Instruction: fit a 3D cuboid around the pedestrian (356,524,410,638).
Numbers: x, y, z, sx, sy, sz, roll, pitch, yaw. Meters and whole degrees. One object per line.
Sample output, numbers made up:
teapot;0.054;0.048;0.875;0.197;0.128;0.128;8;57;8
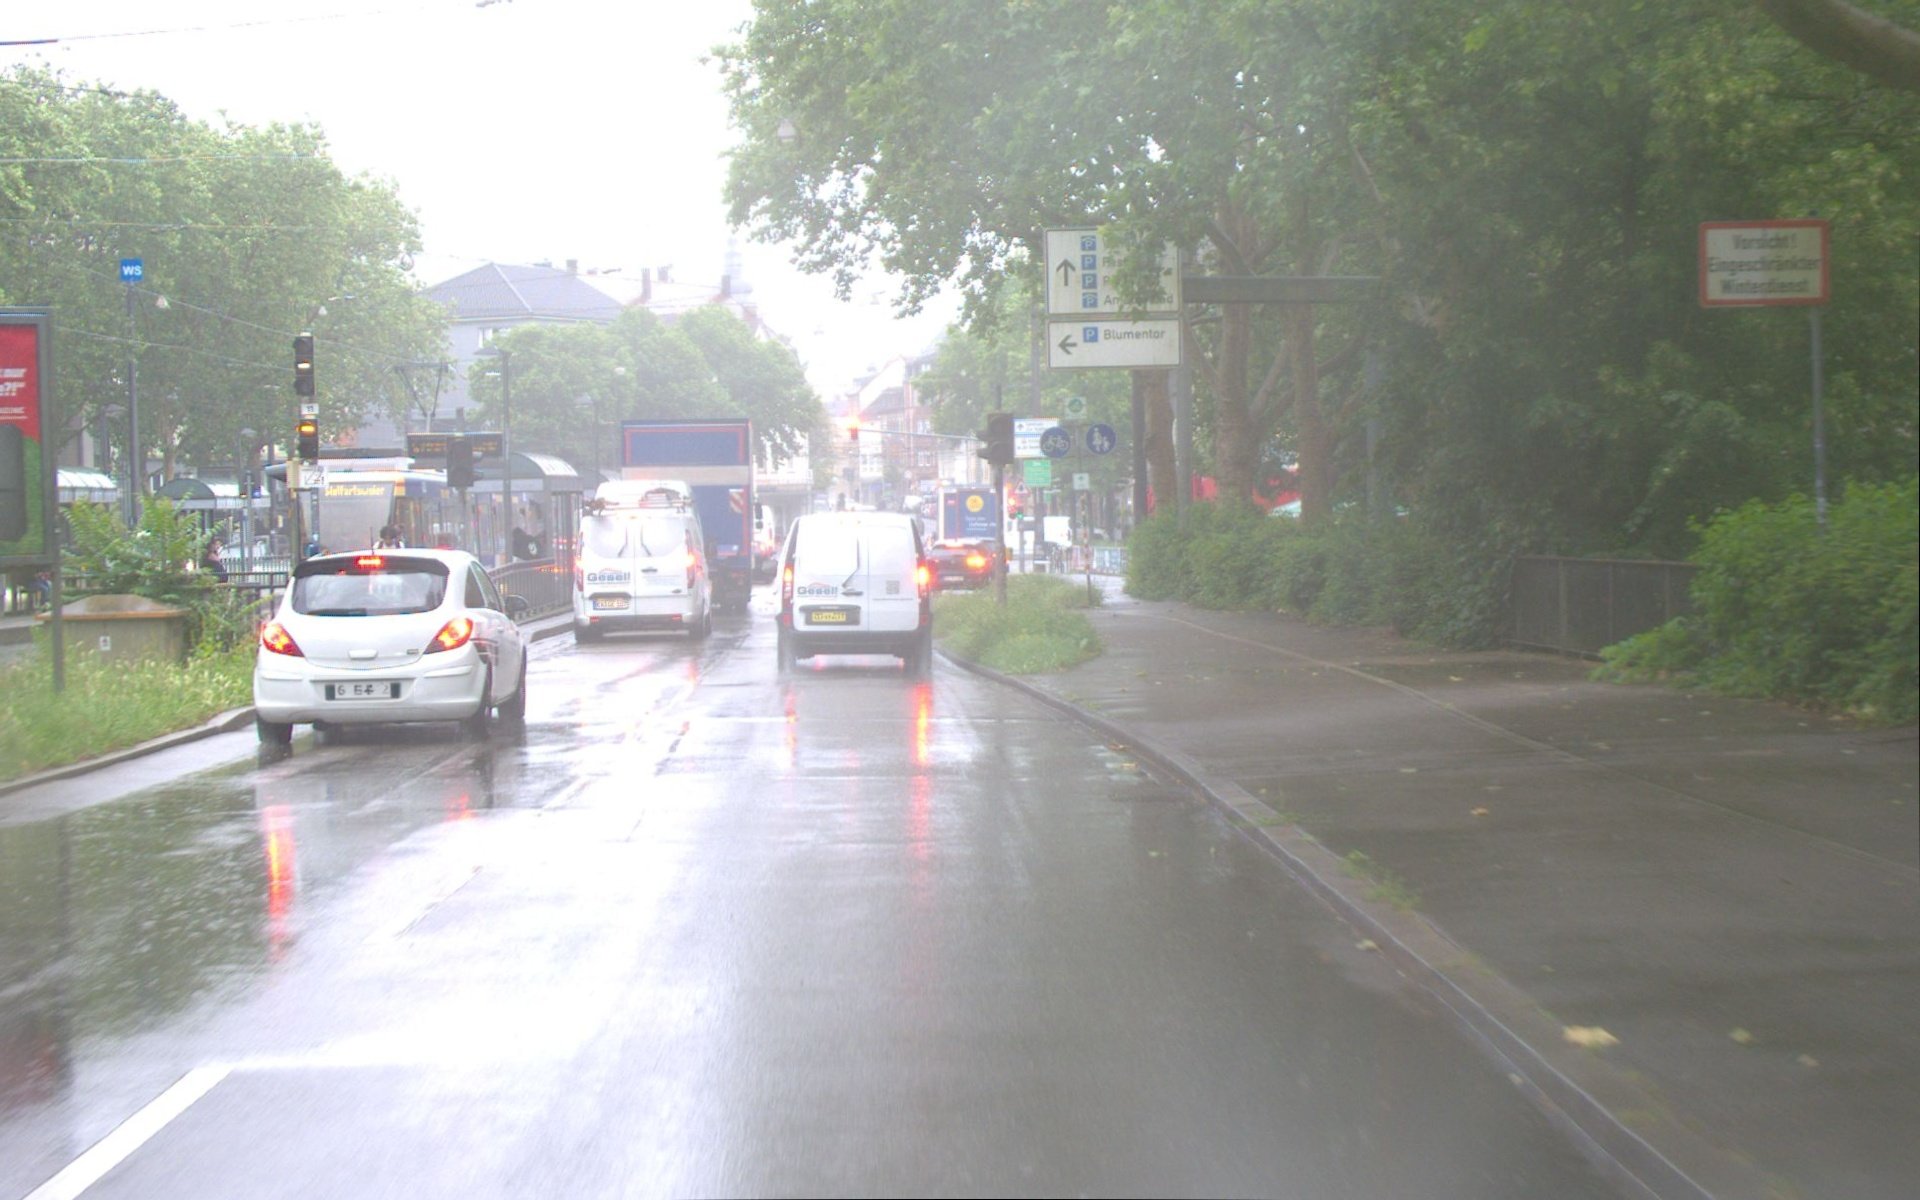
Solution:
pedestrian;-8.905;-0.298;53.071;0.715;1.738;0.751;-1;1;-2

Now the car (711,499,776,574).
car;-7.168;-2.099;114.058;1.993;2.433;4.612;1;1;-2

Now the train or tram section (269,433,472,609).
train or tram section;-11.860;-1.648;69.895;2.961;3.274;8.362;-2;2;-3

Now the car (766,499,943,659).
car;-1.232;-0.237;39.894;1.959;1.771;3.570;0;0;-2

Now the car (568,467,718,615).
car;-5.672;-1.036;62.260;2.329;2.548;6.115;0;0;-2

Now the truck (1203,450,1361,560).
truck;15.149;-4.477;161.598;7.159;4.882;3.288;-2;2;7

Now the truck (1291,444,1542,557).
truck;21.309;-4.658;160.800;11.366;4.882;3.288;-2;2;7

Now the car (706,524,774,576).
car;-6.925;-1.571;108.549;1.993;1.573;4.292;1;1;-2

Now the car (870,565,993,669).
car;-0.455;0.259;55.635;1.908;1.612;4.000;0;0;0

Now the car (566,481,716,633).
car;-4.932;-0.652;53.766;1.993;2.254;5.289;0;0;-2

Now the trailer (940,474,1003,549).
trailer;0.355;-2.852;111.592;1.993;2.309;4.668;0;0;0

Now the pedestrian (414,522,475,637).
pedestrian;-7.782;-0.309;51.908;0.790;1.708;0.771;1;0;-2

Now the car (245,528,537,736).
car;-4.274;0.221;26.327;1.725;1.474;3.806;0;0;-2

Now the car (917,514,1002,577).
car;0.015;-1.399;87.434;1.993;1.536;4.000;-1;1;2

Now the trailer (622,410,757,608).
trailer;-5.546;-1.867;71.415;2.590;3.886;7.637;0;1;-3
